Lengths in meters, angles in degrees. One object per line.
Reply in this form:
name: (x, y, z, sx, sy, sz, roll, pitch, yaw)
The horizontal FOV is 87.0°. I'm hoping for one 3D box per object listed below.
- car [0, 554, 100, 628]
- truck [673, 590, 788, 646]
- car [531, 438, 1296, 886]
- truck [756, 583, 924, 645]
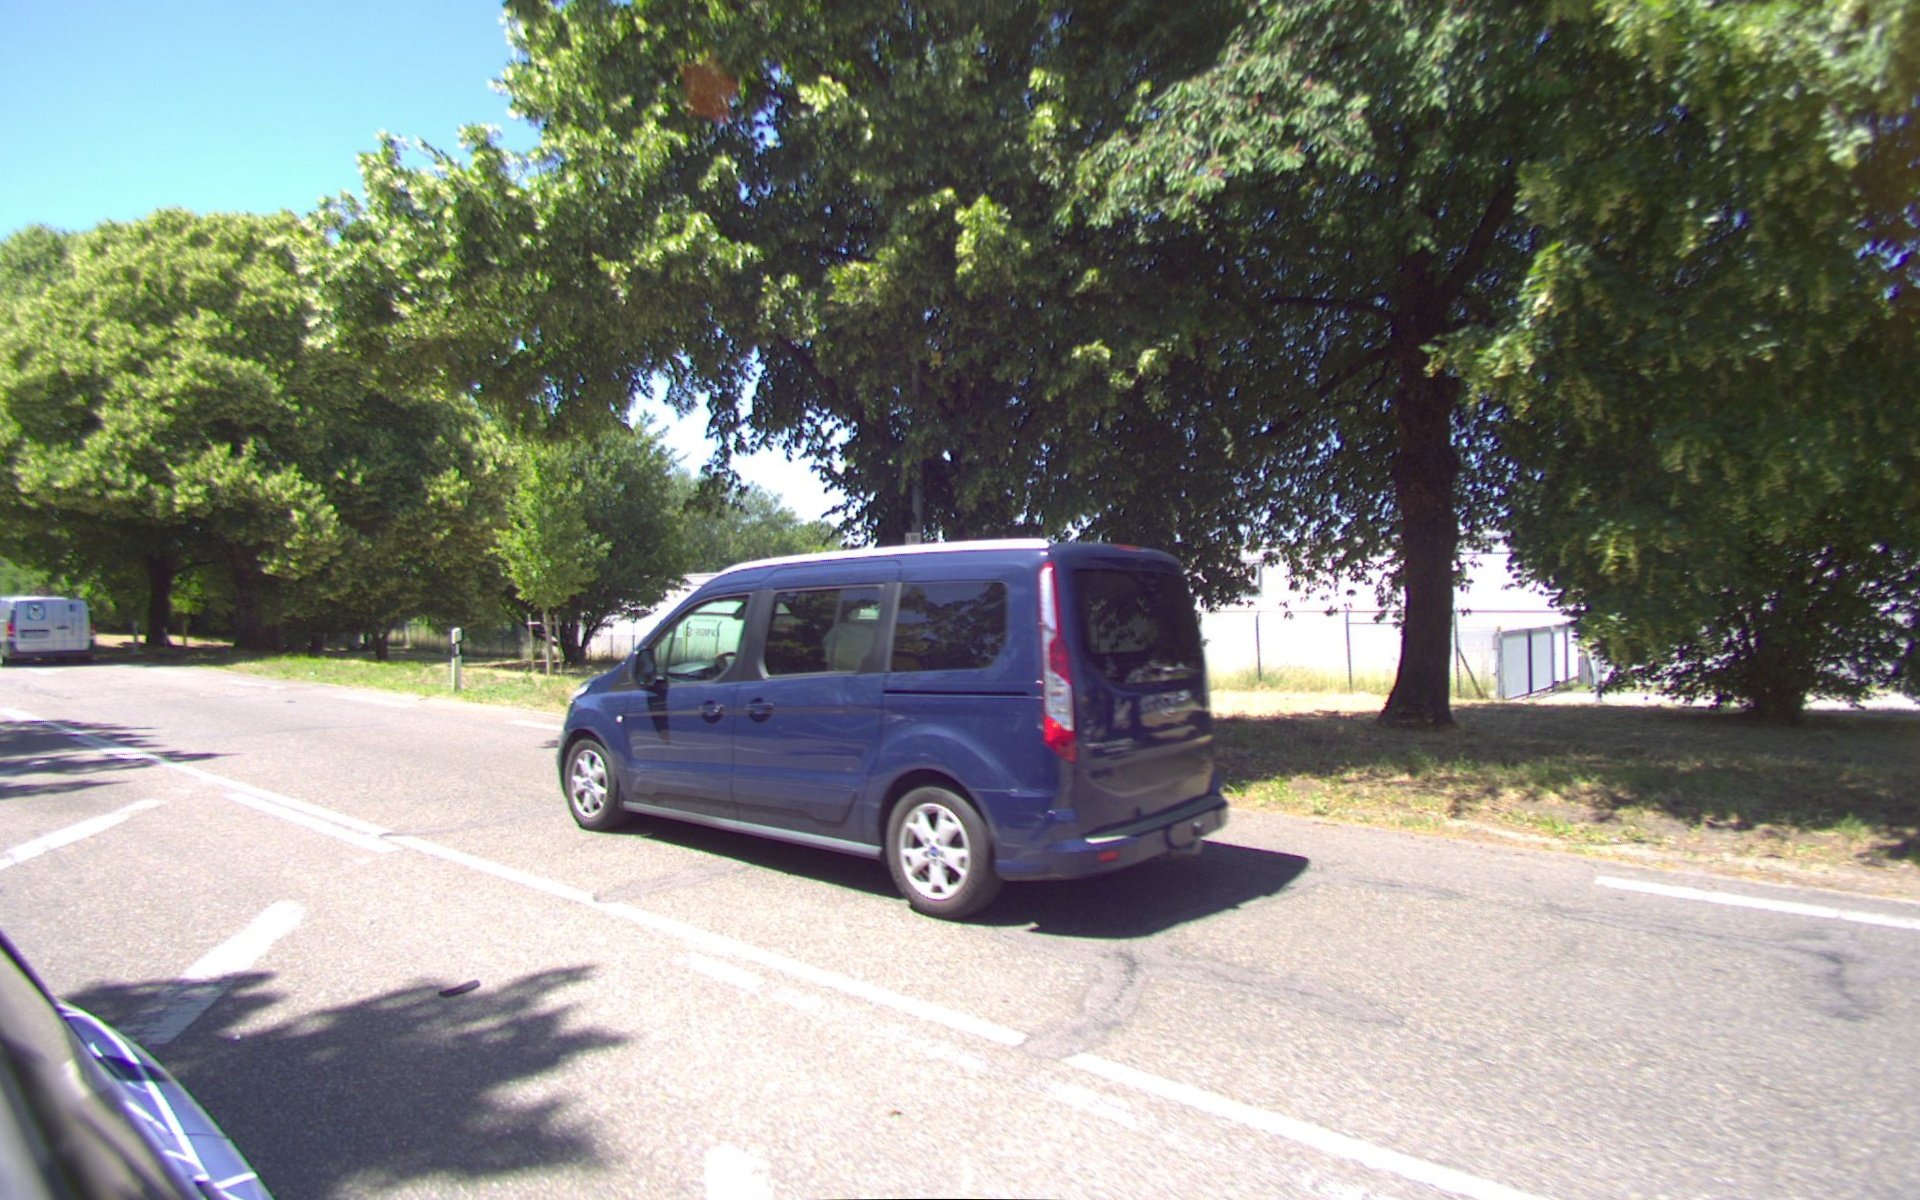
car: (-25.265, -0.245, 27.653, 5.295, 1.848, 1.859, 1, 0, 40)
truck: (-13.170, 0.940, 57.677, 2.406, 2.950, 8.168, -1, 1, -45)
car: (-0.596, 0.258, 6.285, 4.778, 1.795, 1.805, 0, -1, 40)
truck: (-6.230, 0.641, 50.600, 2.654, 2.818, 10.164, -1, 1, -45)
